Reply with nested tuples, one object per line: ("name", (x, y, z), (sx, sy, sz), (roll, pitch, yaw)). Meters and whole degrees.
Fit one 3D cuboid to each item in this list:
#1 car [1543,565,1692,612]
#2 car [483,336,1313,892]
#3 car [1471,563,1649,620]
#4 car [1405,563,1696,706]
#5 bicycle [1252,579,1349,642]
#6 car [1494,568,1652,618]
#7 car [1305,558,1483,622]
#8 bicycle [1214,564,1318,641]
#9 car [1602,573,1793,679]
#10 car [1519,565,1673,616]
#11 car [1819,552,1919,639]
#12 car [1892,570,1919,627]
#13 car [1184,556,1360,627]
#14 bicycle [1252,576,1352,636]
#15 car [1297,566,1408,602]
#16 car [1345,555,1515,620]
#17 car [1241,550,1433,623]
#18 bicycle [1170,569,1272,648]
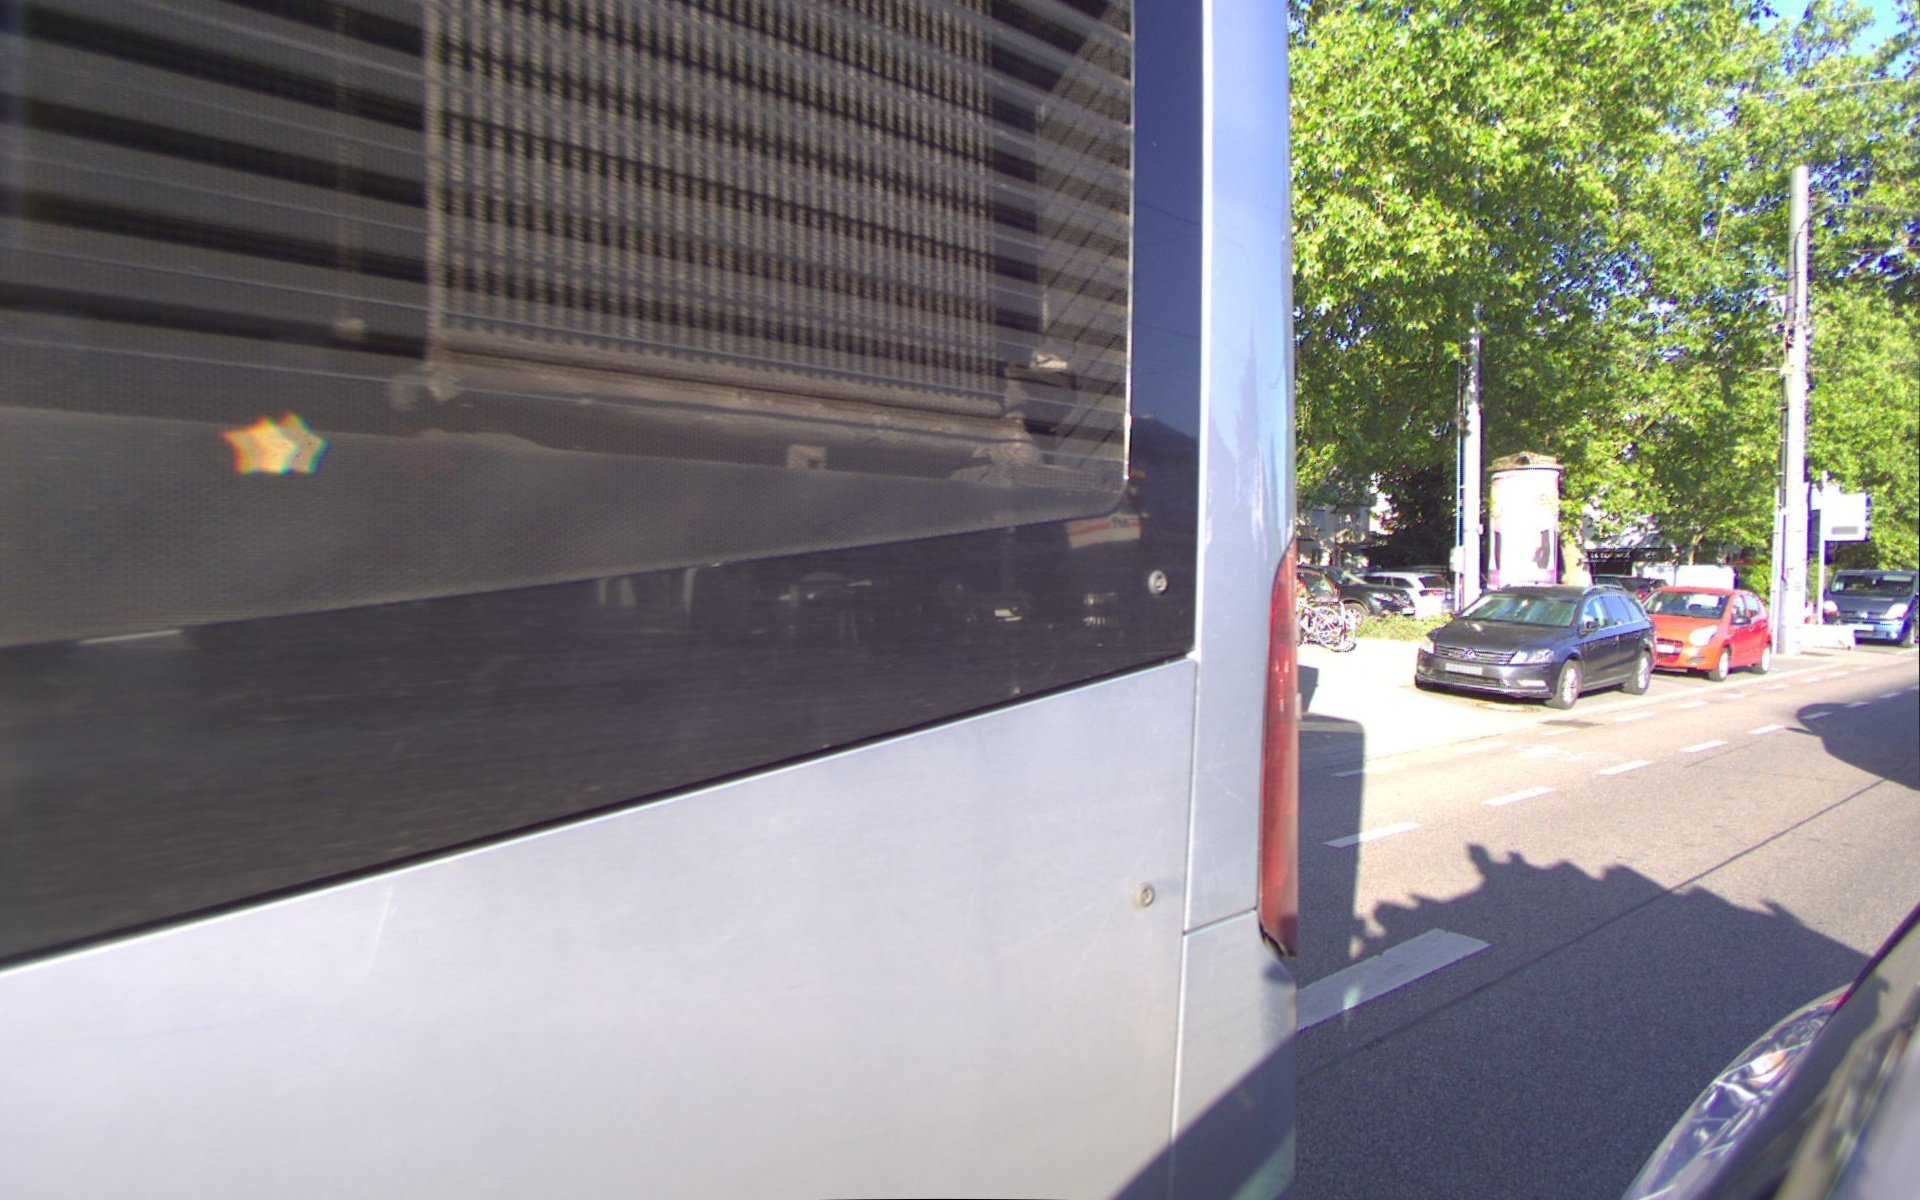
("car", (23.594, -0.380, 36.446), (1.769, 1.570, 4.124), (0, 0, -36))
("car", (-0.100, -0.037, 7.224), (5.678, 2.581, 2.024), (-1, 5, -37))
("car", (17.498, -0.300, 29.701), (1.769, 1.513, 4.126), (0, 2, -36))
("car", (8.050, 0.350, 13.632), (4.567, 1.549, 1.702), (-1, 5, -38))
("bicycle", (5.970, 0.168, 17.834), (1.560, 1.026, 0.648), (1, 2, 15))
("car", (20.273, -0.287, 33.639), (1.769, 1.513, 4.126), (0, 2, -36))
("car", (11.185, -0.217, 26.274), (1.821, 1.514, 3.851), (0, -1, -36))
("bicycle", (5.120, 0.025, 16.999), (1.555, 1.242, 0.646), (1, 2, 7))
("car", (12.446, 0.360, 17.021), (3.559, 1.512, 1.575), (-1, 4, -37))
("car", (21.923, -0.383, 35.033), (1.769, 1.618, 4.126), (0, 2, -36))
("car", (24.467, -0.163, 26.625), (4.479, 2.104, 1.890), (-1, 2, -37))
("car", (29.584, -0.045, 30.278), (3.926, 1.650, 1.801), (-1, 2, -37))
("car", (7.146, -0.159, 23.402), (1.741, 1.502, 3.505), (0, -1, -38))
("bicycle", (6.232, 0.092, 18.515), (1.656, 1.026, 0.648), (1, 2, 15))
("car", (17.700, -0.766, 45.769), (1.965, 1.514, 4.290), (-1, 2, -40))
("car", (12.810, -0.333, 27.772), (1.821, 1.652, 3.852), (0, 0, -36))
("car", (9.111, -0.278, 24.749), (1.822, 1.621, 4.030), (0, -1, -38))
("bicycle", (4.221, 0.132, 16.414), (1.560, 1.242, 0.648), (-1, 0, 15))
